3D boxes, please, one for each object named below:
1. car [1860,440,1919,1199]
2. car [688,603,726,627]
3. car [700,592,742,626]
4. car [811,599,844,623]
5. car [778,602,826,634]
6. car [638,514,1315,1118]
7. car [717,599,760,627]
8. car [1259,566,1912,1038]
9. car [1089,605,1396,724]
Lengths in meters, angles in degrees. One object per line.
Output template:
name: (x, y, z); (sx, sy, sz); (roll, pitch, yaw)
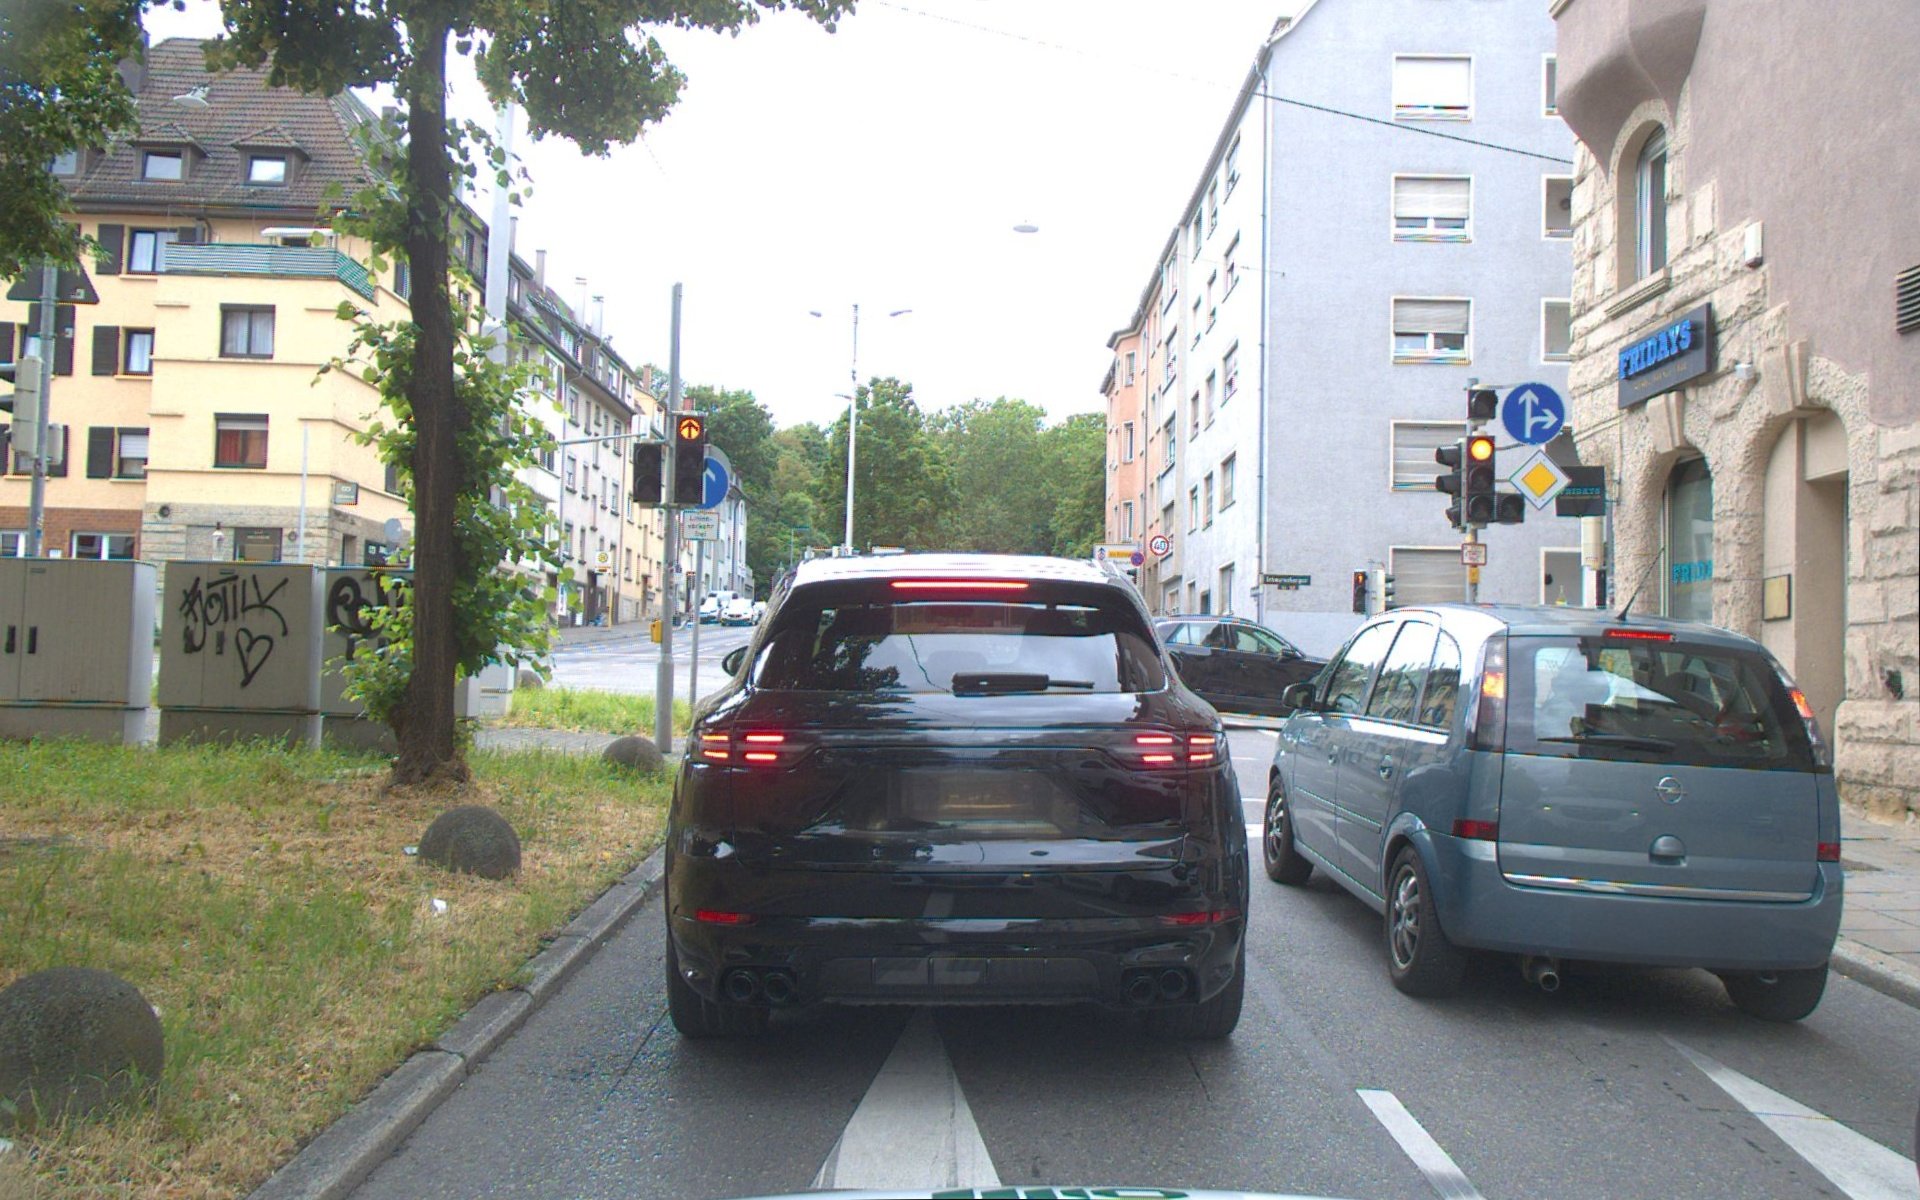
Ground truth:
car: (2.891, 0.652, 1.012); (1.936, 1.806, 4.674); (4, 0, -2)
car: (-15.103, 0.896, 98.772); (1.703, 1.411, 3.813); (1, 0, 0)
car: (-15.080, 0.549, 104.417); (1.975, 2.081, 4.666); (1, 0, 0)
car: (-9.346, 0.778, 116.989); (1.933, 1.638, 4.557); (1, 0, -1)
car: (-7.164, 0.803, 75.400); (1.824, 1.412, 4.094); (1, 0, 0)
car: (0.024, 0.622, 6.694); (1.916, 1.704, 3.999); (0, 0, -1)
car: (-12.594, 0.726, 94.054); (1.806, 1.512, 3.898); (1, 0, 1)
car: (2.632, 0.749, 7.898); (1.596, 1.625, 3.668); (4, 0, -1)
car: (4.033, 0.914, 24.045); (4.150, 1.547, 1.666); (2, -1, 0)
